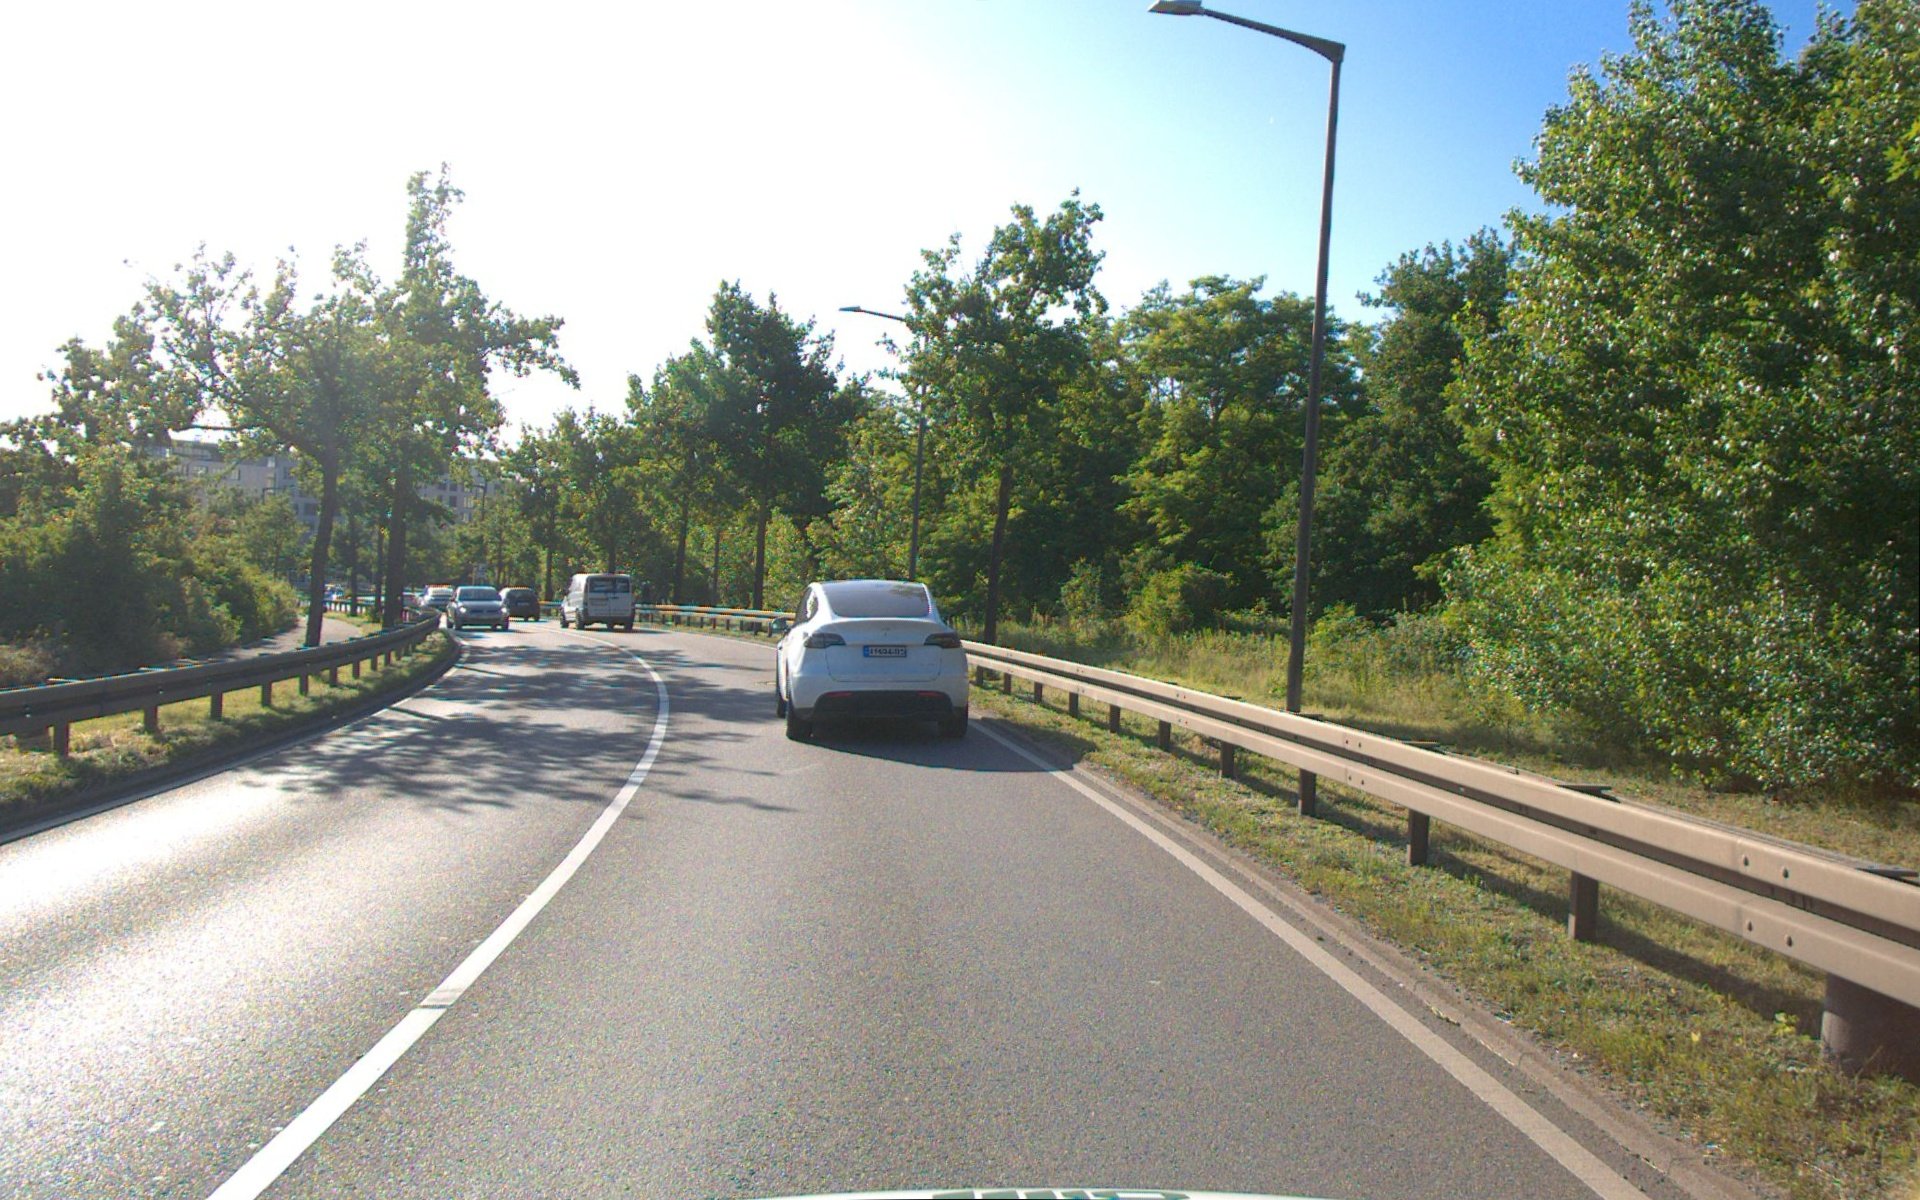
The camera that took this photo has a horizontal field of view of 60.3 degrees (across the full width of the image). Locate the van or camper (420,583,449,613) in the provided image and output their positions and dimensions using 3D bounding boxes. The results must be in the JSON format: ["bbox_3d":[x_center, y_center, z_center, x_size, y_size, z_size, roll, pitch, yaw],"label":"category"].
[{"bbox_3d":[-36.661,-0.152,115.477,1.797,1.822,4.524,4,1,-17],"label":"van or camper"}]

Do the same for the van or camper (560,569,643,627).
[{"bbox_3d":[-12.504,-0.084,57.459,1.932,1.917,4.845,1,0,-23],"label":"van or camper"}]

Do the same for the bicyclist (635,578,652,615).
[{"bbox_3d":[-14.231,-0.149,74.301,0.695,1.606,1.001,1,-2,-13],"label":"bicyclist"}]

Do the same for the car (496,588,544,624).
[{"bbox_3d":[-19.330,0.270,72.624,1.581,1.460,3.654,3,-2,-21],"label":"car"}]

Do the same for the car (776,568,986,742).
[{"bbox_3d":[-1.000,0.542,18.242,1.878,1.669,4.401,1,0,-8],"label":"car"}]

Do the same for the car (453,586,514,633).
[{"bbox_3d":[-16.306,0.308,56.524,1.671,1.545,3.957,1,0,-21],"label":"car"}]

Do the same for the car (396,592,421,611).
[{"bbox_3d":[-46.784,0.107,140.245,1.784,1.581,4.112,1,0,-22],"label":"car"}]

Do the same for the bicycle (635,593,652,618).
[{"bbox_3d":[-14.261,0.254,74.408,0.688,1.093,1.915,1,-2,-12],"label":"bicycle"}]

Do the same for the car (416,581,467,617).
[{"bbox_3d":[-29.445,-0.062,93.826,1.889,1.834,4.089,3,-1,-29],"label":"car"}]
